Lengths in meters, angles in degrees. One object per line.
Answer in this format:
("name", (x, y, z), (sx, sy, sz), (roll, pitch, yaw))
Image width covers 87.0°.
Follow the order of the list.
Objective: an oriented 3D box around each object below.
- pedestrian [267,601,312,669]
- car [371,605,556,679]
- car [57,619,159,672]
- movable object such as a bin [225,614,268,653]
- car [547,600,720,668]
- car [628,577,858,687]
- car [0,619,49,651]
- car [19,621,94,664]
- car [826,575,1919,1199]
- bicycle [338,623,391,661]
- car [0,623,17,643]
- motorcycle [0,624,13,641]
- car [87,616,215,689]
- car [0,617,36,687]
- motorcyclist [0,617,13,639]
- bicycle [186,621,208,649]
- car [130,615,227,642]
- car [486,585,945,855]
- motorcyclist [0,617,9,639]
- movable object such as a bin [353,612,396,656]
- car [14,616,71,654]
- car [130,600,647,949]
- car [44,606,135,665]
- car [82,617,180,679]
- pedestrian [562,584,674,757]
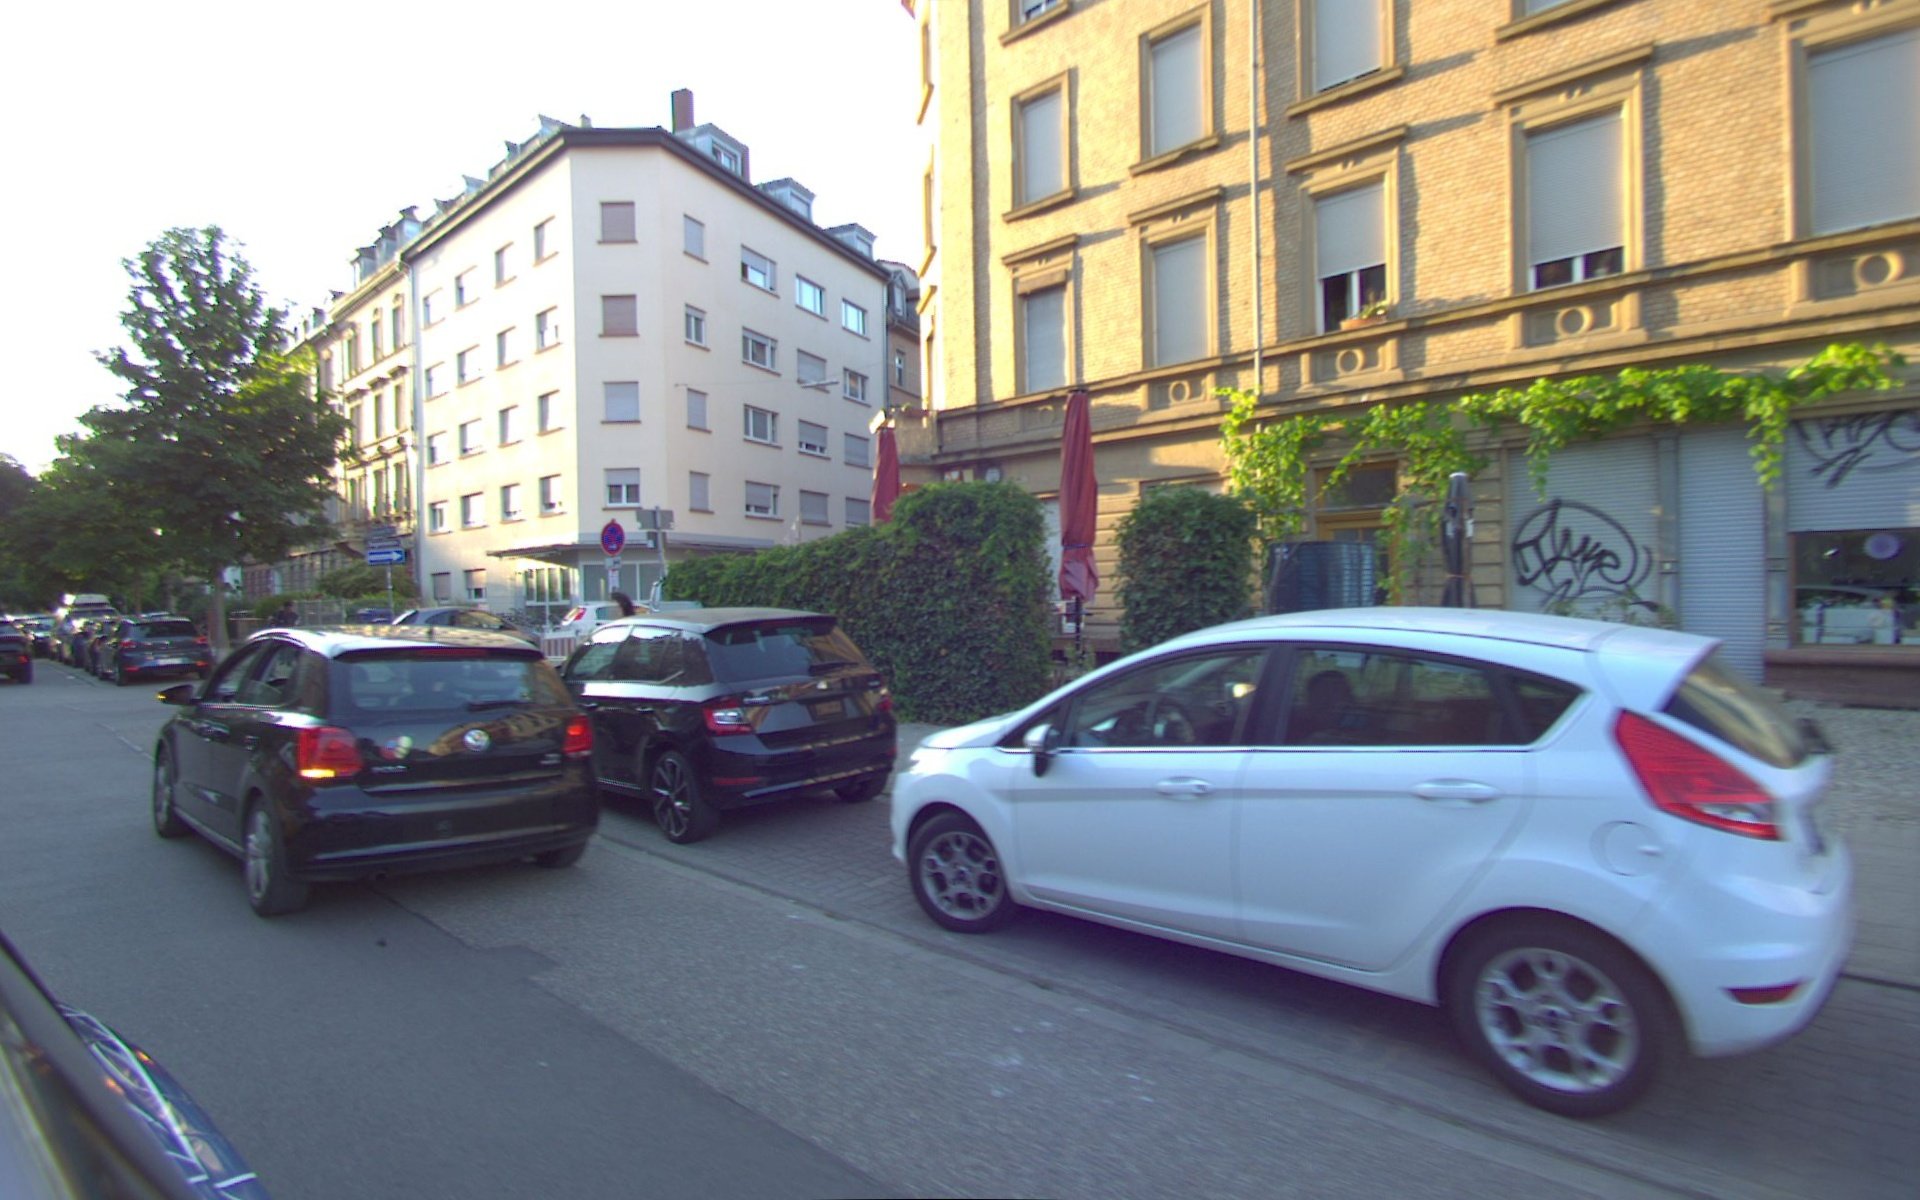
("pedestrian", (-17.837, 0.906, 26.949), (0.876, 1.734, 0.962), (-3, 1, -30))
("car", (-11.645, 0.948, 23.841), (1.845, 1.519, 3.468), (-3, 0, 44))
("car", (-25.836, 1.326, 30.635), (4.591, 1.423, 1.841), (-1, 1, 44))
("movable object such as a bin", (-27.220, 1.271, 38.596), (1.551, 1.397, 0.936), (-1, 1, 41))
("car", (-8.756, 0.848, 27.256), (4.005, 1.519, 1.979), (-3, 1, -33))
("car", (-4.340, 0.600, 21.302), (2.193, 1.990, 5.257), (-2, 0, 21))
("car", (-52.414, 1.919, 56.657), (3.939, 1.649, 1.655), (-1, 1, 42))
("car", (-34.144, 1.574, 38.231), (4.024, 1.452, 1.709), (-1, 1, 43))
("car", (1.380, 0.736, 4.328), (4.016, 1.542, 1.633), (-1, 1, 42))
("bicycle", (-17.611, 1.232, 29.931), (1.930, 1.033, 0.680), (-1, 1, 39))
("car", (-76.238, 2.635, 80.243), (3.739, 1.504, 1.926), (-1, 1, 44))
("motorcycle", (-68.210, 2.294, 72.088), (0.835, 1.218, 2.079), (2, -2, -35))
("car", (-18.846, 1.146, 23.501), (4.463, 1.472, 1.656), (-1, 1, 43))
("car", (-22.731, 1.163, 23.297), (3.999, 1.529, 1.760), (-1, -1, 42))
("motorcyclist", (-68.260, 1.985, 72.142), (0.877, 1.516, 0.971), (2, -2, -36))
("bicycle", (-31.718, 1.426, 42.063), (0.450, 1.118, 1.634), (-3, 1, -45))
("car", (-45.988, 1.634, 59.622), (1.626, 1.351, 4.352), (-1, 1, 45))
("car", (-2.069, 0.720, 7.855), (3.846, 1.546, 1.684), (-1, 1, 45))
("motorcyclist", (-67.796, 1.956, 71.500), (0.777, 1.552, 0.547), (2, -2, -36))
("movable object such as a bin", (-18.890, 1.088, 32.643), (0.856, 1.362, 1.399), (-3, 1, -44))
("car", (-43.998, 1.640, 48.500), (1.840, 1.675, 4.023), (-2, 1, -45))
("car", (-3.698, 0.779, 6.226), (3.941, 1.466, 1.634), (-1, -2, 43))
("car", (-29.415, 1.154, 34.146), (4.624, 1.792, 1.841), (-1, 1, 44))
("car", (-22.090, 1.213, 26.924), (1.721, 1.431, 4.146), (-2, 1, -43))
("pedestrian", (-3.427, 0.672, 10.142), (0.775, 1.630, 0.712), (-3, 1, -44))
